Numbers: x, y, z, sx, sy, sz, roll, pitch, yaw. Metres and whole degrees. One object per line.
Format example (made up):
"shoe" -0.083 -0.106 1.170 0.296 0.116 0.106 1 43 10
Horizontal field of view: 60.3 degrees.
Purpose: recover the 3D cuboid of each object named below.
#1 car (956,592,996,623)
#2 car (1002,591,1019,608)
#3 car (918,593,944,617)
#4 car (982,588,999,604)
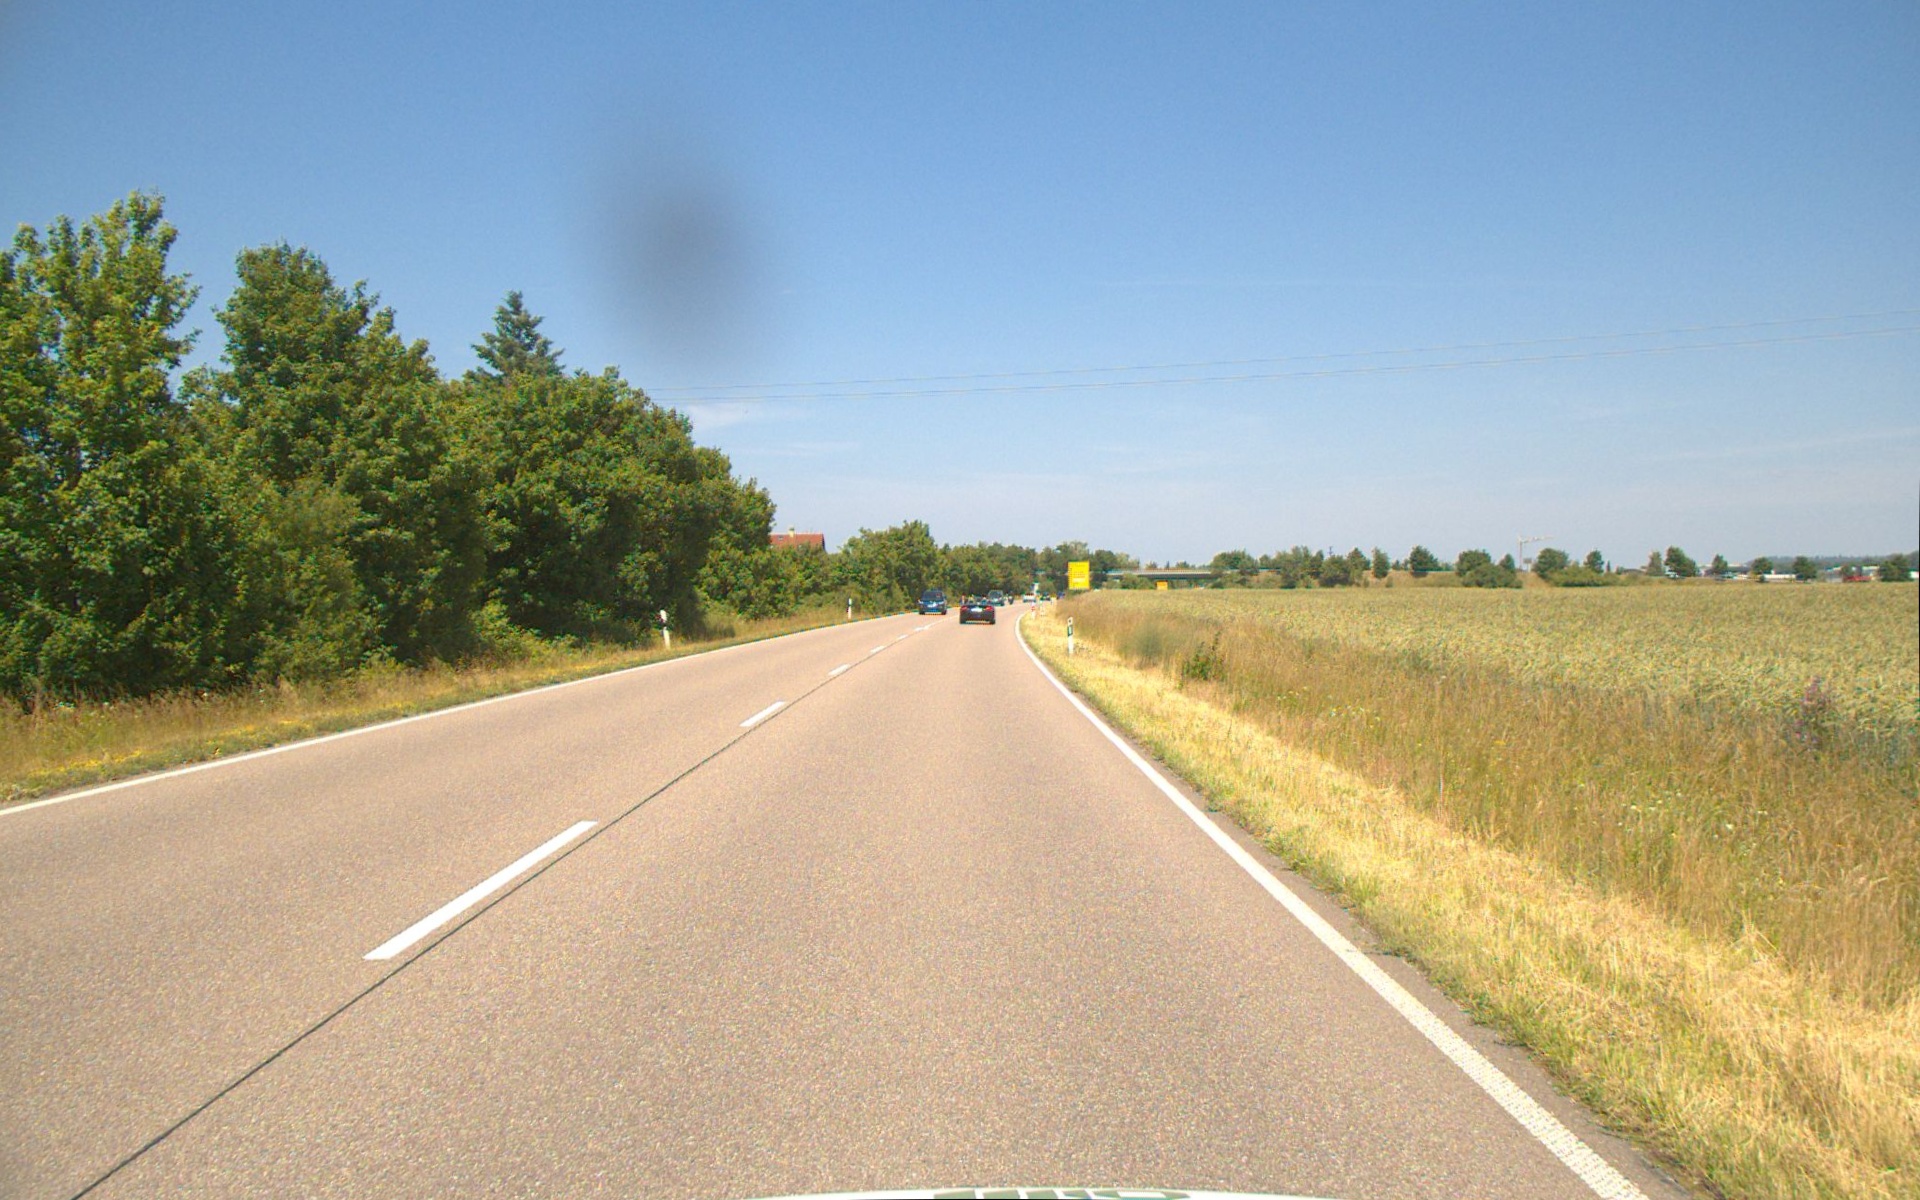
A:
"car" 0.802 0.376 82.001 1.776 1.466 4.001 1 0 3
"car" 6.243 -0.021 204.571 1.827 2.049 4.003 1 0 5
"car" -1.940 0.316 111.266 1.664 1.594 3.672 0 0 1
"car" 3.451 -0.450 185.940 1.780 1.731 5.003 0 0 3
